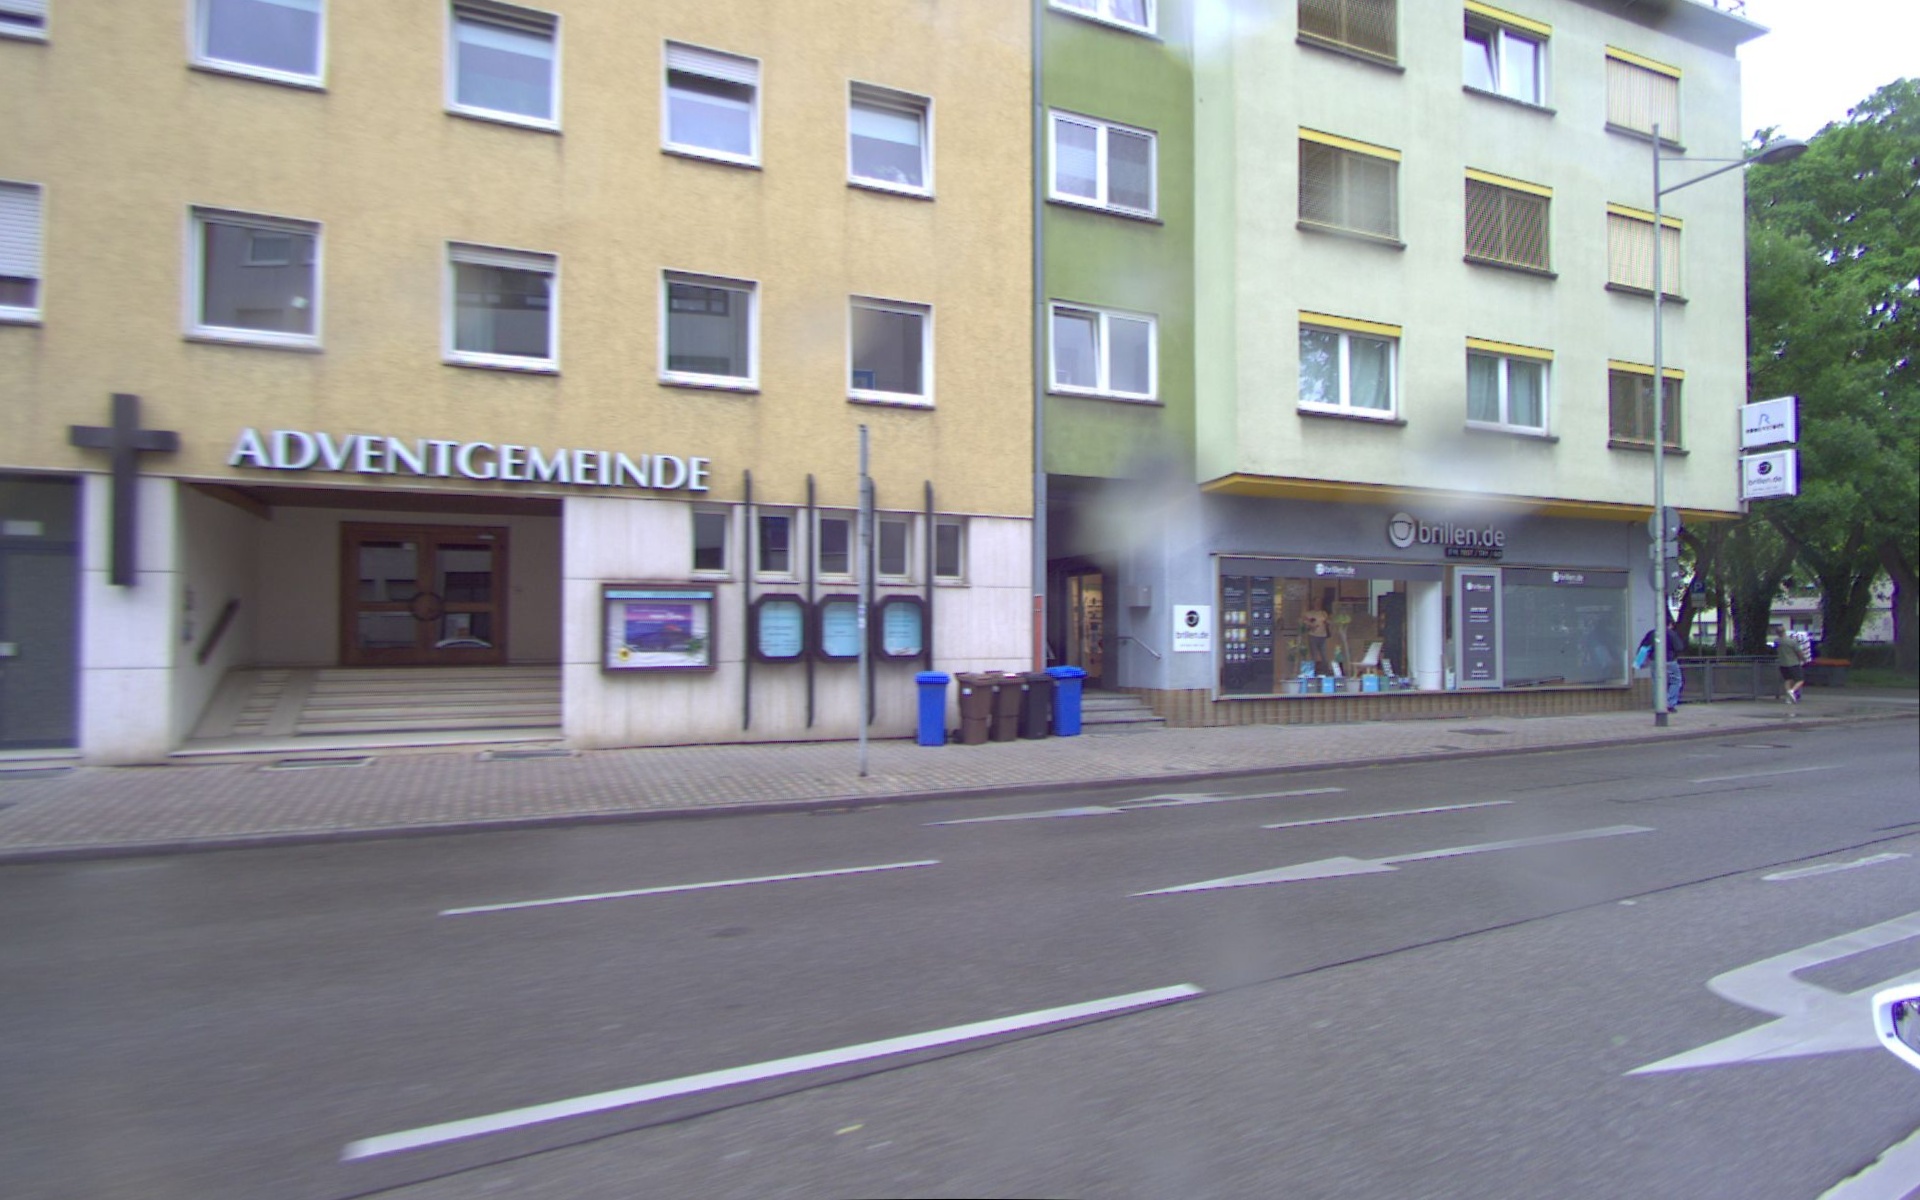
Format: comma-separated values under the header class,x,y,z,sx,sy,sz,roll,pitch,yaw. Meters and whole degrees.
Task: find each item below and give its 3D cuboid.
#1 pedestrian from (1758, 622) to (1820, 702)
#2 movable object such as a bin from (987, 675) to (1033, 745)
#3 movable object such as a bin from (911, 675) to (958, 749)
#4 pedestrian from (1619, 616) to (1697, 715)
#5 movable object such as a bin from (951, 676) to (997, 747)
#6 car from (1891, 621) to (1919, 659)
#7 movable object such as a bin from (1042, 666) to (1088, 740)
class,x,y,z,sx,sy,sz,roll,pitch,yaw
pedestrian,18.135,1.346,21.983,0.807,1.710,0.794,1,-2,-30
movable object such as a bin,0.688,1.508,13.821,0.495,0.912,0.453,1,-2,-22
movable object such as a bin,-0.343,1.477,13.365,0.495,0.942,0.453,1,-2,-22
pedestrian,13.338,1.234,19.197,0.862,1.812,0.863,1,1,-23
movable object such as a bin,0.187,1.500,13.601,0.495,0.912,0.453,1,-2,-22
car,46.192,1.888,46.767,1.858,1.757,3.814,1,0,-31
movable object such as a bin,1.514,1.472,14.439,0.537,1.019,0.398,1,-2,-23
